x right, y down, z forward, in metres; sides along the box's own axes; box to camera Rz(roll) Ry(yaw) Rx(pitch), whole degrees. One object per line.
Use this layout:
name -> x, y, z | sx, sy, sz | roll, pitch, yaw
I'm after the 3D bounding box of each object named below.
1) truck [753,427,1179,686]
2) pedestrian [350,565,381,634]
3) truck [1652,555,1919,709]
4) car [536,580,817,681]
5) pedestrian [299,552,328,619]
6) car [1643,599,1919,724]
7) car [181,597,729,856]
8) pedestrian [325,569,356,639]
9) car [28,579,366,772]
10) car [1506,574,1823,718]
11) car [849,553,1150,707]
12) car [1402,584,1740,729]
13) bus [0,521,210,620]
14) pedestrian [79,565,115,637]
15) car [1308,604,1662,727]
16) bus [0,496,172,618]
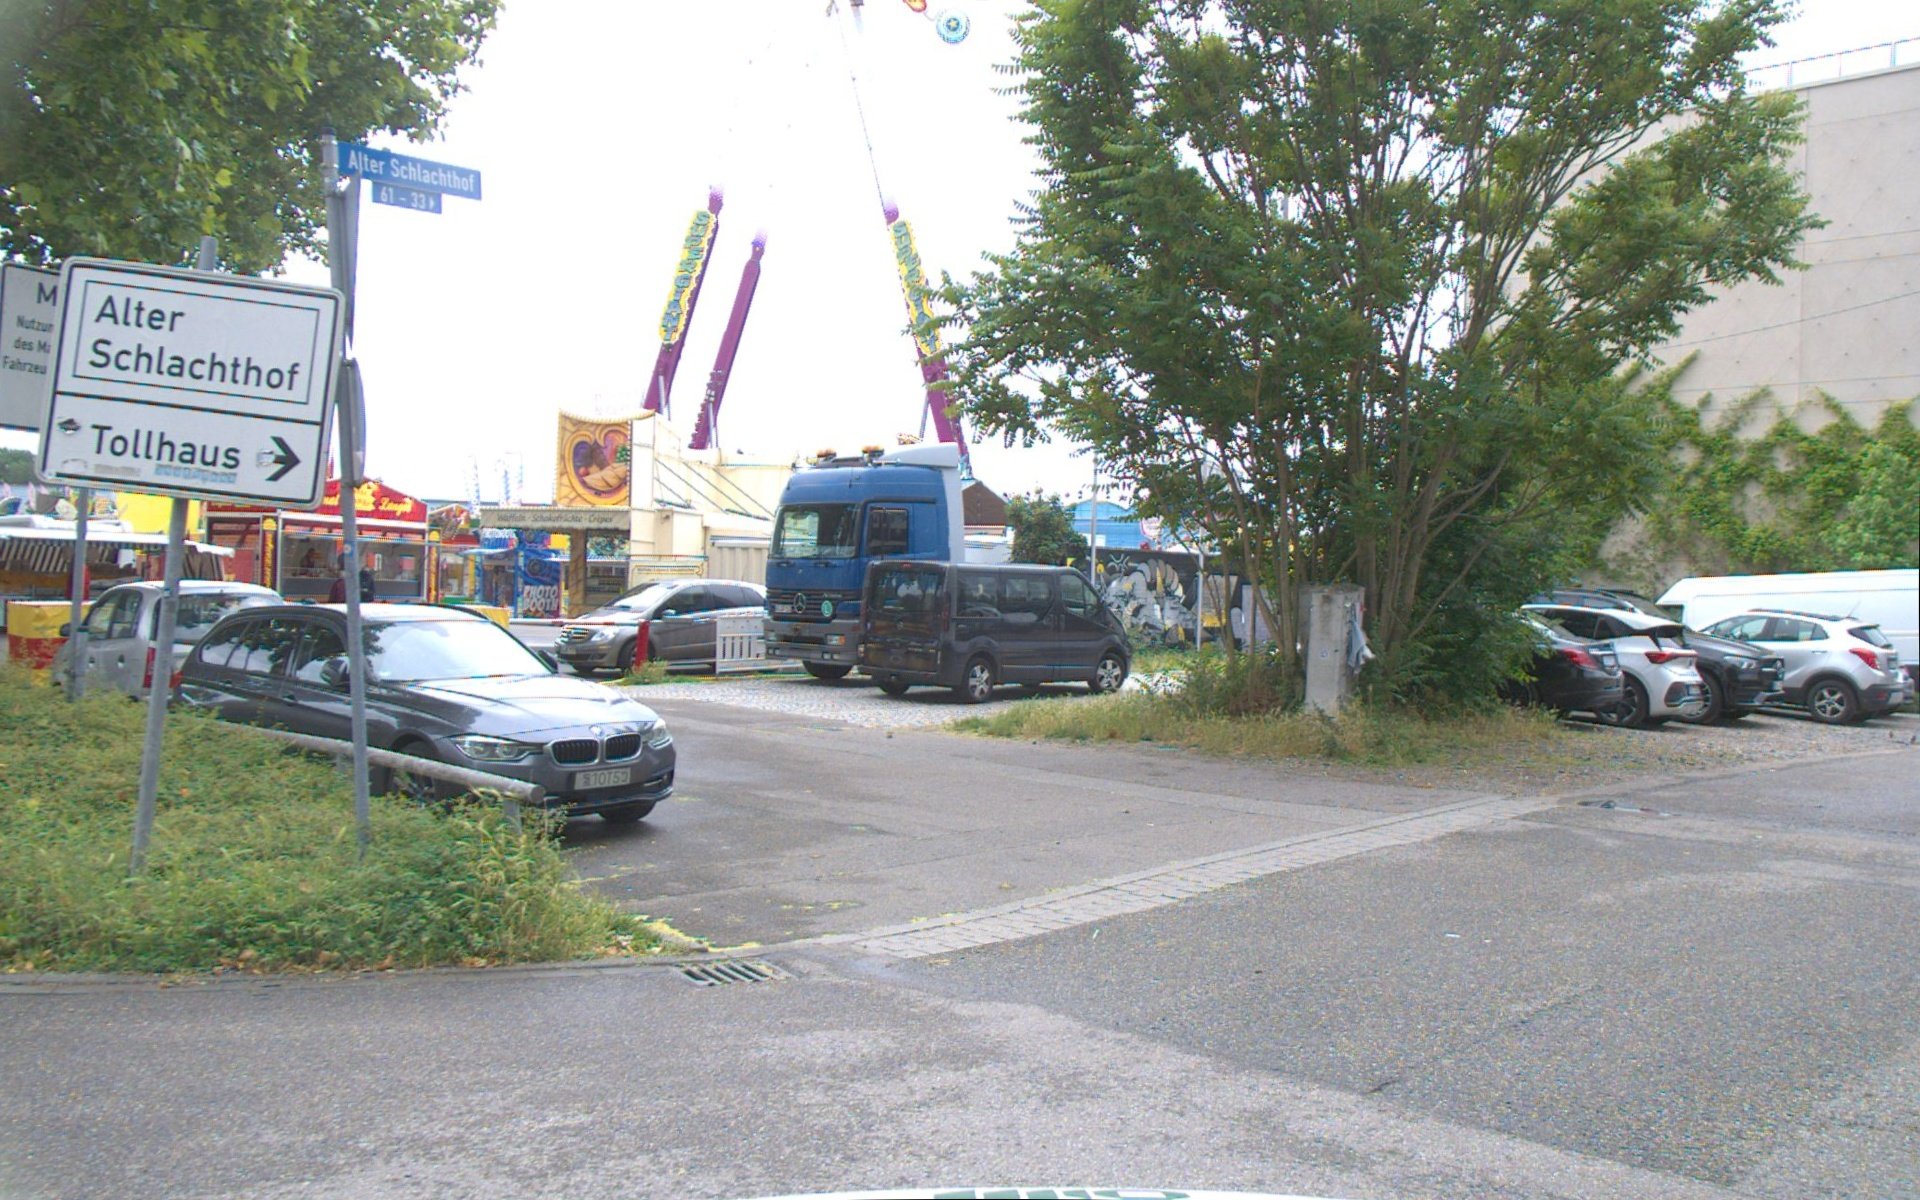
truck -> 0.383, -0.622, 28.753 | 2.555, 3.889, 8.164 | 1, 0, 43
pedestrian -> -14.962, -0.020, 41.618 | 0.483, 1.716, 0.523 | 1, 0, 28
truck -> 17.182, 0.570, 33.120 | 2.037, 2.775, 5.768 | 2, 1, -42
car -> -4.813, 0.502, 28.583 | 1.965, 1.603, 4.559 | 1, 0, 43
pedestrian -> -16.767, -0.373, 42.902 | 0.514, 1.716, 0.491 | 1, 0, 42
car -> 13.245, 0.926, 26.342 | 3.931, 1.673, 1.879 | 3, 1, 43
car -> -3.623, 0.738, 11.564 | 3.927, 1.455, 1.859 | 1, 0, 41
pedestrian -> -15.300, 0.107, 40.852 | 0.483, 1.716, 0.523 | 1, 0, 28
car -> -7.514, 0.633, 16.107 | 1.854, 1.622, 3.937 | 1, 0, -43
car -> 10.436, 0.616, 24.638 | 3.931, 1.912, 1.879 | 2, 1, 43
car -> 0.674, 0.370, 24.657 | 1.965, 2.048, 4.559 | 2, 2, 43
car -> 8.393, 0.723, 22.897 | 3.931, 1.673, 1.879 | 3, 1, 43
bus -> -22.764, -0.697, 38.995 | 1.964, 2.266, 9.252 | 1, 0, 42
pedestrian -> -18.252, 0.021, 34.981 | 0.514, 1.488, 0.491 | 1, 0, 42
car -> 6.711, 0.816, 21.338 | 3.930, 1.373, 1.879 | 1, -2, 43
bus -> -24.814, -1.076, 41.290 | 1.964, 3.011, 9.252 | 1, 0, 42
